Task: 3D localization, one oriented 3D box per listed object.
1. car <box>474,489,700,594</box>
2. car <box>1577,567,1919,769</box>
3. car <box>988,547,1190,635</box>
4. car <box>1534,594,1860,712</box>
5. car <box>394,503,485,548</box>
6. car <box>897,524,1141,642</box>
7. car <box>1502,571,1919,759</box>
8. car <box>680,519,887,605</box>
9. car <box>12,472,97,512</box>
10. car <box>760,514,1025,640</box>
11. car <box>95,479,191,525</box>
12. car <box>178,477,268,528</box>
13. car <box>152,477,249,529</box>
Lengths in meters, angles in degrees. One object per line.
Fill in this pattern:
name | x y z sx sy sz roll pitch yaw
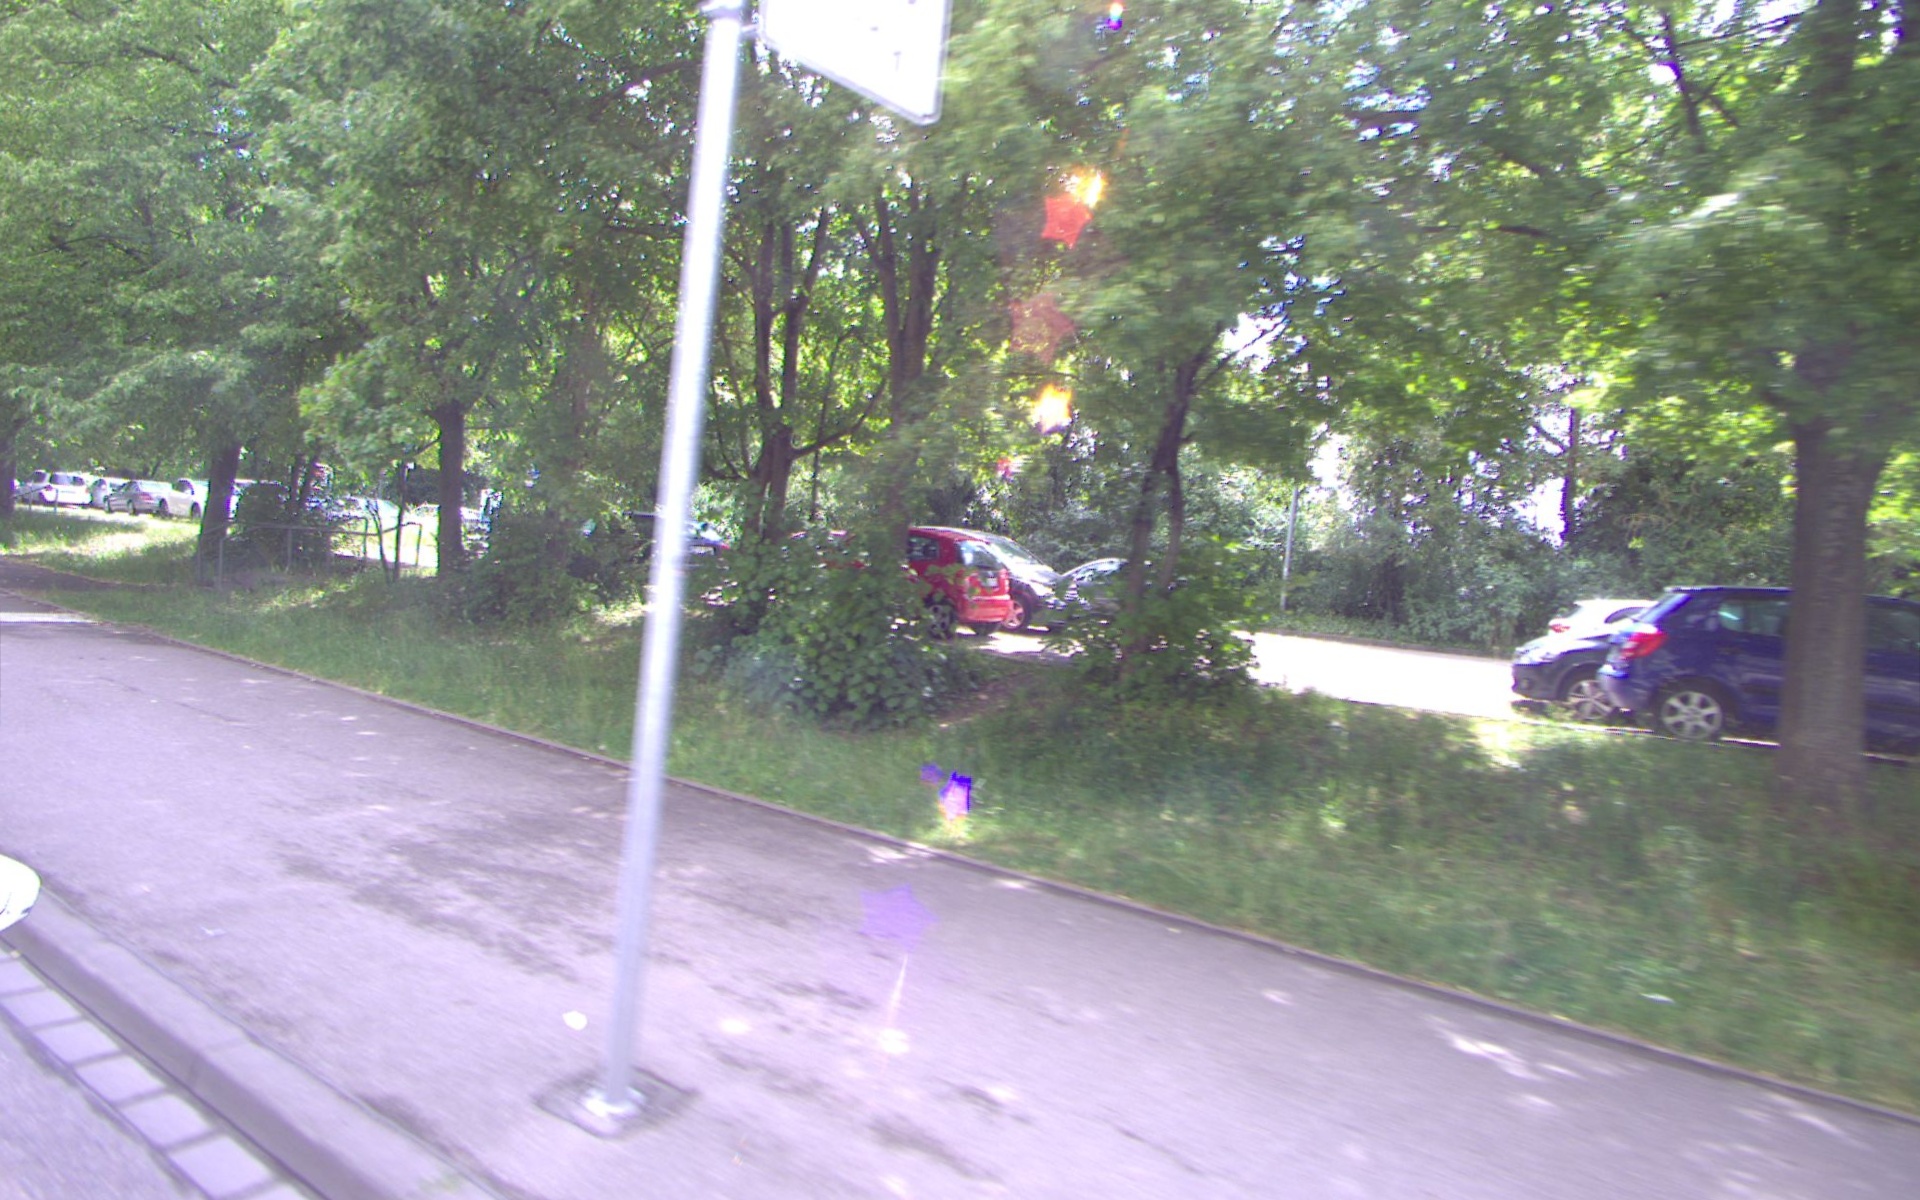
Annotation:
car | -6.800 -1.075 18.197 4.070 1.535 1.626 6 3 32
car | 7.964 0.633 9.202 3.749 1.531 1.826 5 0 29
car | 2.721 -0.211 21.408 3.794 1.461 1.755 7 3 29
car | 11.287 0.746 15.760 3.863 1.439 1.615 4 2 32
car | -17.435 -2.484 33.658 2.812 1.320 1.408 4 2 30
car | 0.963 -0.311 16.987 3.602 1.603 1.752 6 2 32
car | 8.468 0.625 11.521 3.840 1.658 1.678 5 3 29
car | -4.001 -0.869 22.561 4.469 1.497 1.752 6 2 32
car | -41.247 -4.928 45.804 4.055 1.439 1.841 6 2 32
car | -1.053 -0.364 15.150 3.602 1.521 1.661 6 2 32
car | -31.965 -3.850 39.330 4.281 1.461 1.613 6 3 32
car | -30.993 -4.121 42.285 4.138 1.815 1.612 6 3 32
car | -27.875 -3.571 36.881 4.360 1.577 1.468 7 4 34
